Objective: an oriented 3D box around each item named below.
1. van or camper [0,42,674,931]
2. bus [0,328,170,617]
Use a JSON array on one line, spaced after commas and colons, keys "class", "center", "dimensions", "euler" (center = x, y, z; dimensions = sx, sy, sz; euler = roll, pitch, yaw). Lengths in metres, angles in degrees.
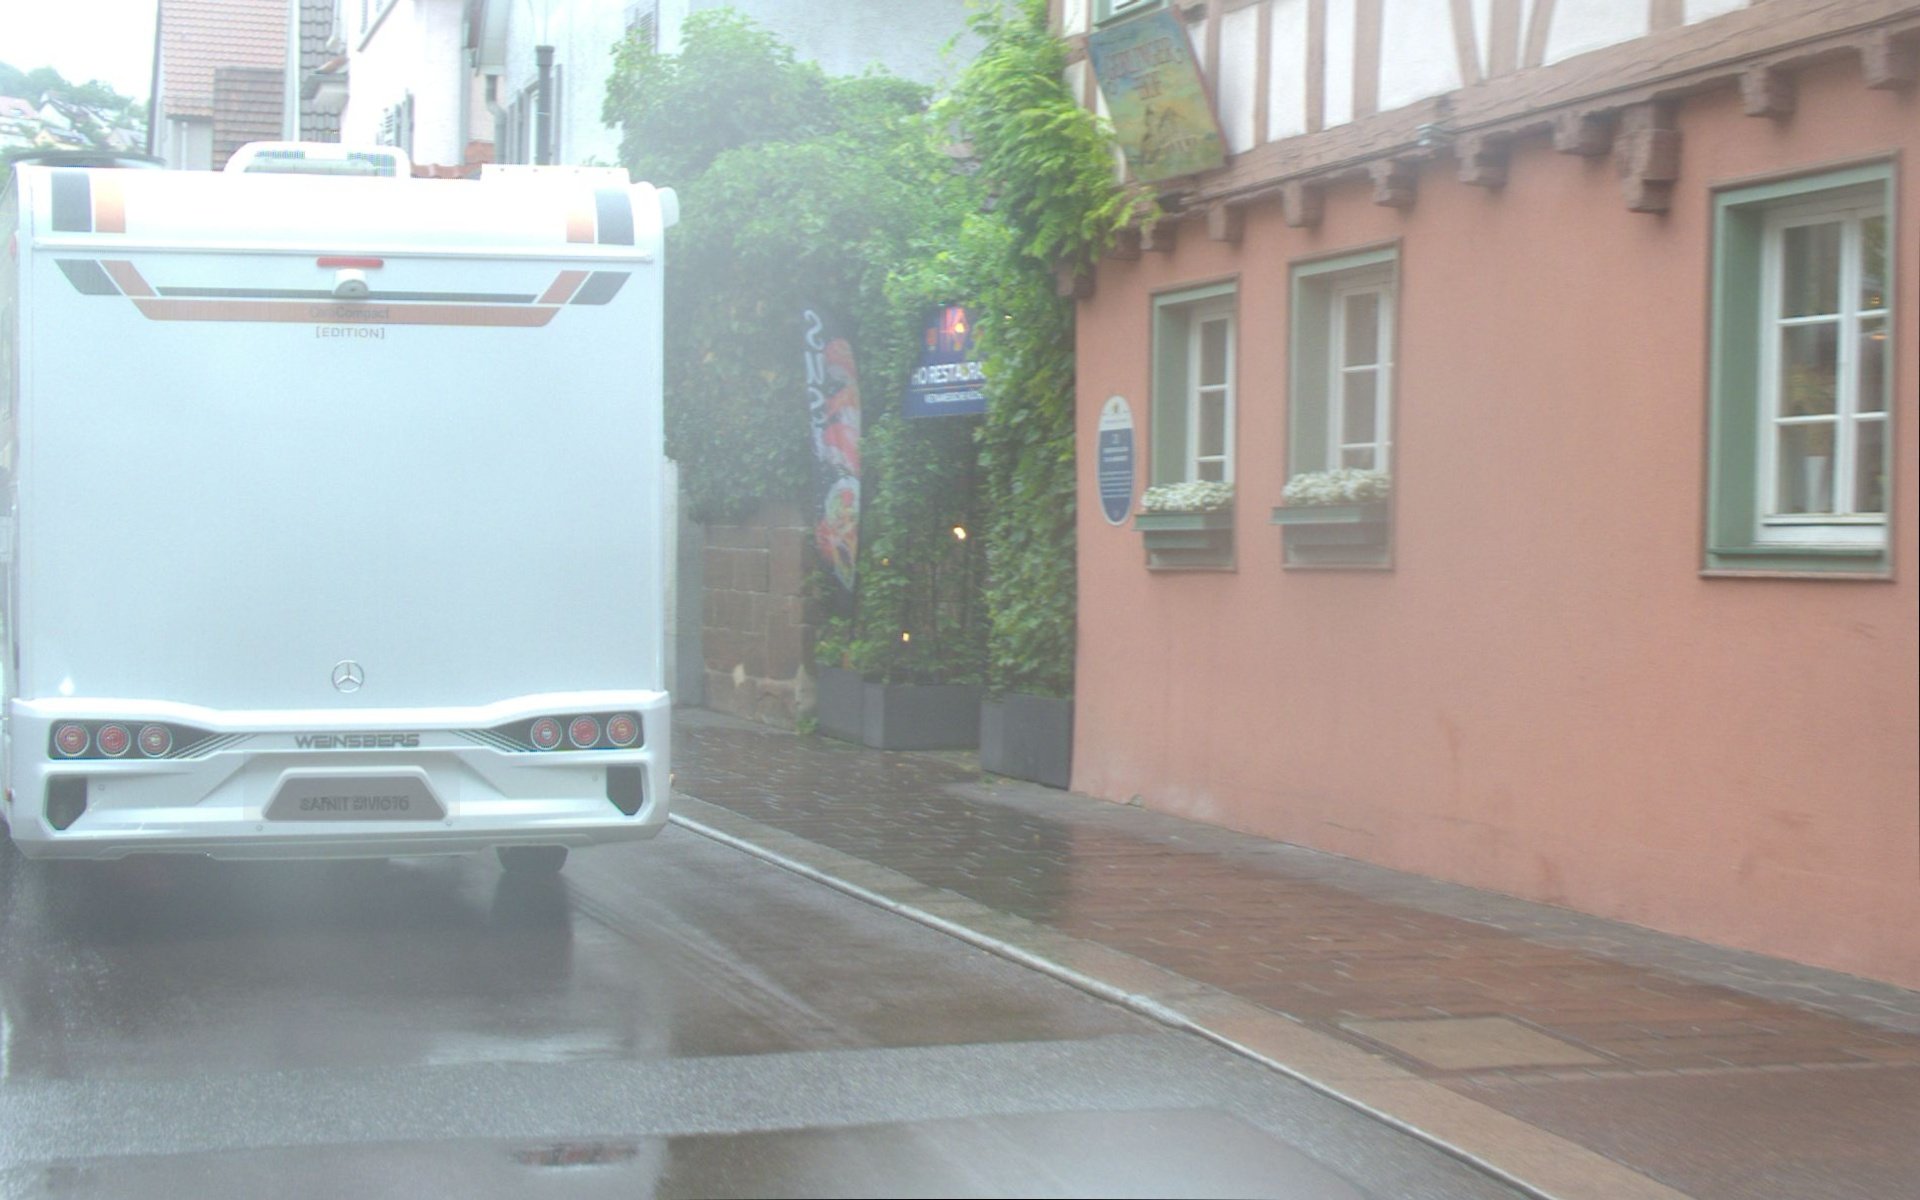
[{"class": "van or camper", "center": [-3.047, -0.386, 14.621], "dimensions": [2.325, 2.909, 6.395], "euler": [0, 0, -17]}, {"class": "bus", "center": [-11.250, -1.448, 41.569], "dimensions": [2.640, 3.216, 6.604], "euler": [0, 0, -19]}]
